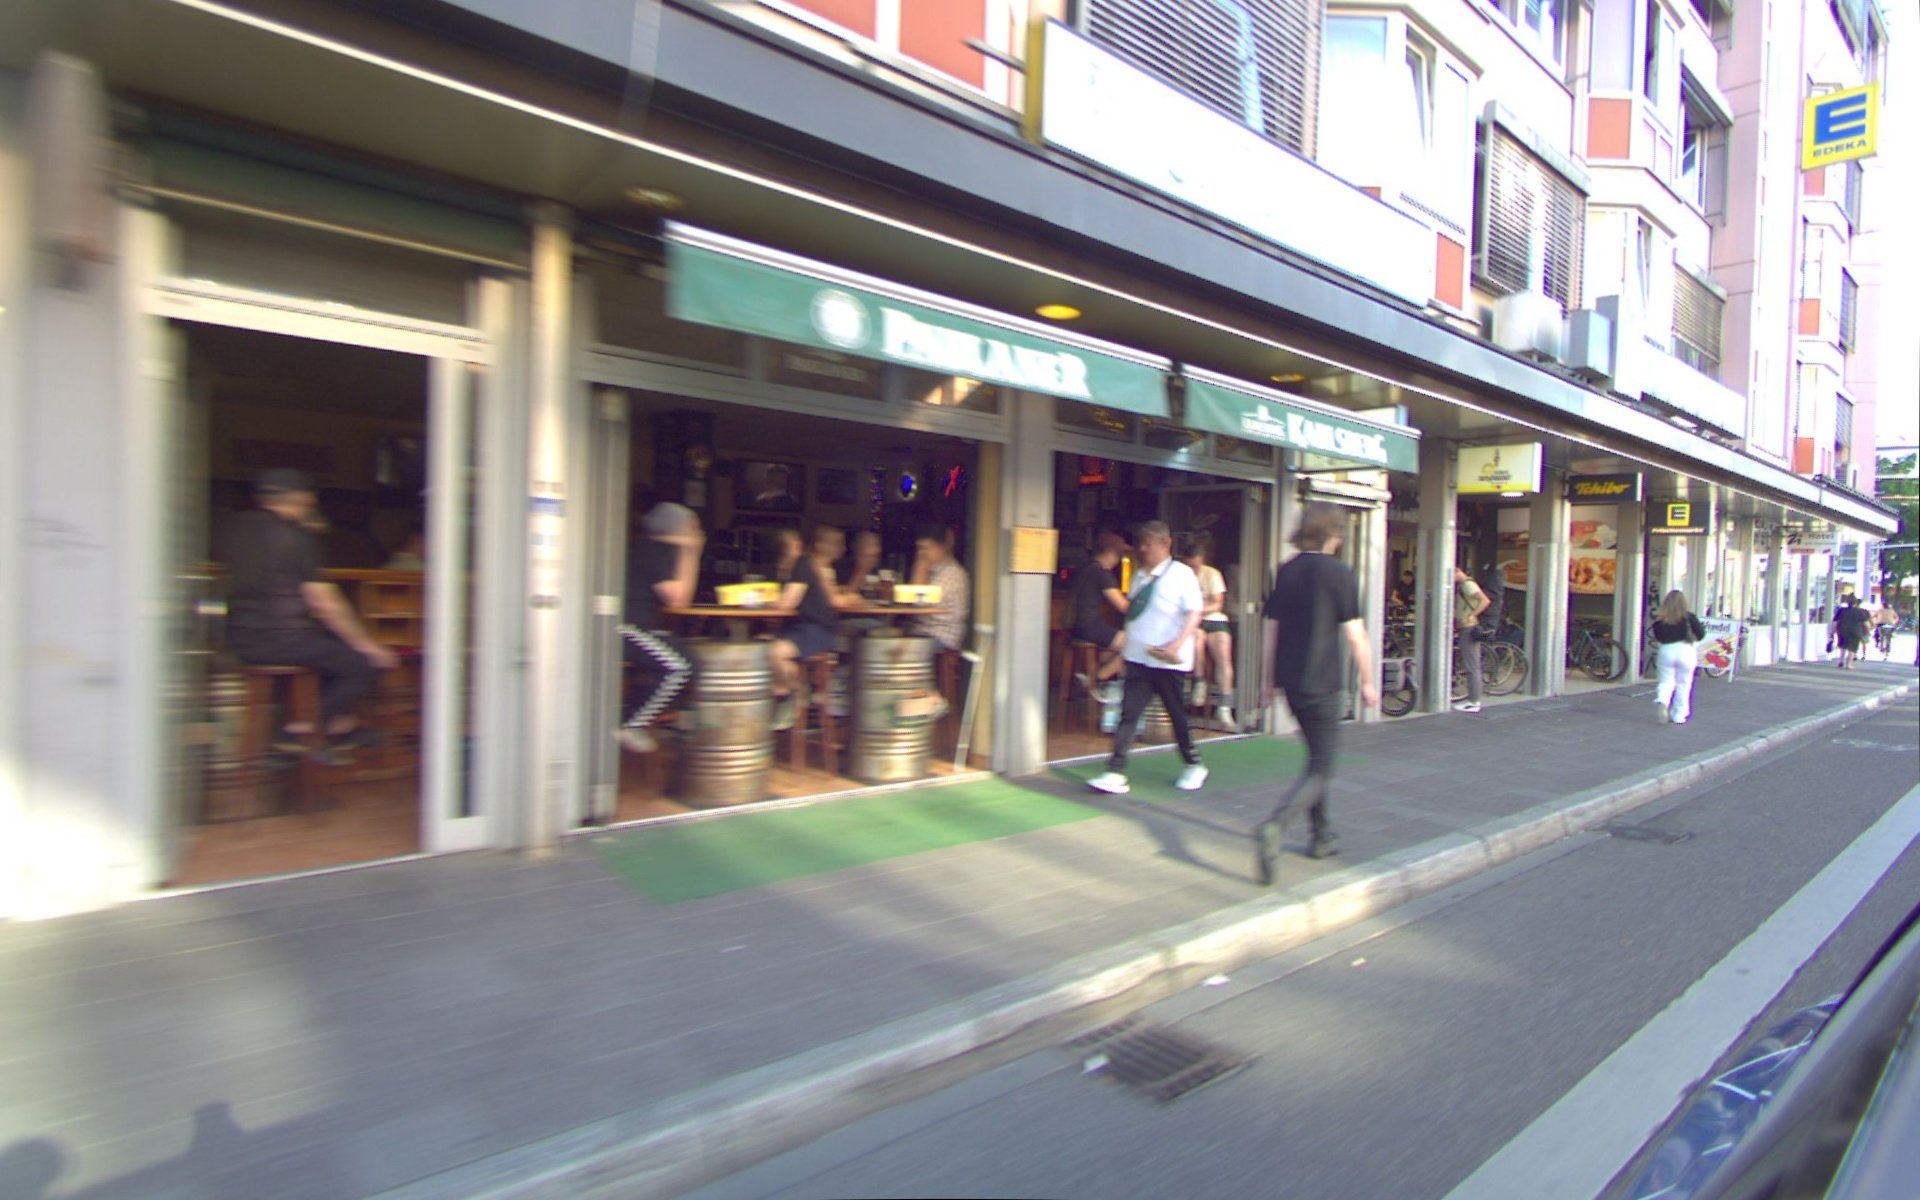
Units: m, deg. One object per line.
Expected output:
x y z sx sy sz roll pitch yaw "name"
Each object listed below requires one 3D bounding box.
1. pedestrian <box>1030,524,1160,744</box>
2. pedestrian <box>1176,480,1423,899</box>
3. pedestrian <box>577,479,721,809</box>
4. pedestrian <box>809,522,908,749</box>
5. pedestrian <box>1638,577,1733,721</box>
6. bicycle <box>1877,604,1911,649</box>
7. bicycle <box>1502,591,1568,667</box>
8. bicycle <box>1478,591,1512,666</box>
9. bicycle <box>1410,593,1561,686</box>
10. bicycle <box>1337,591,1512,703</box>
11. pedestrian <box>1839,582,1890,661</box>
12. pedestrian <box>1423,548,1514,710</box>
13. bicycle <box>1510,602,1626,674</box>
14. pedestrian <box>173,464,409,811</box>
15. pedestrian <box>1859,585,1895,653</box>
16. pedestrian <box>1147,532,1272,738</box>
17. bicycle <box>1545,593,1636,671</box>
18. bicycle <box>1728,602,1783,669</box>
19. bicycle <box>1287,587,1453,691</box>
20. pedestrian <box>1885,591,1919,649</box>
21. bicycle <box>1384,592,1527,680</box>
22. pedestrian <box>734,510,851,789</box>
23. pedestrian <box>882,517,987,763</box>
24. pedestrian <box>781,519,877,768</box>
1.104 0.252 8.329 0.684 1.695 0.774 1 1 -41 "pedestrian"
1.712 0.387 5.100 0.974 1.883 0.676 1 3 -39 "pedestrian"
-1.726 0.219 5.611 0.544 1.704 0.579 1 1 -42 "pedestrian"
-0.767 0.247 7.611 0.531 1.627 0.522 1 1 -35 "pedestrian"
8.325 0.534 11.609 0.776 1.539 0.666 0 4 -44 "pedestrian"
26.632 0.743 28.869 0.427 1.229 1.802 0 0 34 "bicycle"
9.918 0.470 17.488 0.415 1.215 1.479 1 1 7 "bicycle"
9.262 0.463 17.541 0.418 1.215 1.469 2 1 25 "bicycle"
7.383 0.546 14.229 2.040 1.252 0.558 1 1 -16 "bicycle"
5.492 0.543 11.957 2.040 1.267 0.472 1 1 -16 "bicycle"
19.354 0.447 21.660 0.486 1.633 0.708 0 2 -41 "pedestrian"
5.811 0.302 11.566 0.783 1.742 0.585 5 3 32 "pedestrian"
9.716 0.588 16.203 0.427 1.054 1.511 2 0 -43 "bicycle"
-3.336 0.157 5.046 0.885 1.538 0.710 1 1 -41 "pedestrian"
24.653 0.500 27.206 0.668 1.784 0.671 0 0 39 "pedestrian"
2.120 0.267 8.626 0.627 1.656 0.728 1 3 -39 "pedestrian"
10.453 0.505 16.834 0.473 1.215 1.483 1 1 -4 "bicycle"
14.285 0.619 18.171 1.382 1.141 0.516 0 1 -42 "bicycle"
5.277 0.481 13.031 2.071 1.270 0.578 0 0 -17 "bicycle"
27.116 0.561 29.127 0.650 1.627 0.588 0 0 36 "pedestrian"
7.354 0.526 15.015 2.040 1.252 0.558 1 1 -16 "bicycle"
-1.032 0.282 6.220 0.520 1.623 0.457 1 1 -40 "pedestrian"
-0.184 0.263 7.176 0.512 1.653 0.518 1 1 -35 "pedestrian"
-0.895 0.276 6.907 0.456 1.623 0.457 1 1 -38 "pedestrian"
